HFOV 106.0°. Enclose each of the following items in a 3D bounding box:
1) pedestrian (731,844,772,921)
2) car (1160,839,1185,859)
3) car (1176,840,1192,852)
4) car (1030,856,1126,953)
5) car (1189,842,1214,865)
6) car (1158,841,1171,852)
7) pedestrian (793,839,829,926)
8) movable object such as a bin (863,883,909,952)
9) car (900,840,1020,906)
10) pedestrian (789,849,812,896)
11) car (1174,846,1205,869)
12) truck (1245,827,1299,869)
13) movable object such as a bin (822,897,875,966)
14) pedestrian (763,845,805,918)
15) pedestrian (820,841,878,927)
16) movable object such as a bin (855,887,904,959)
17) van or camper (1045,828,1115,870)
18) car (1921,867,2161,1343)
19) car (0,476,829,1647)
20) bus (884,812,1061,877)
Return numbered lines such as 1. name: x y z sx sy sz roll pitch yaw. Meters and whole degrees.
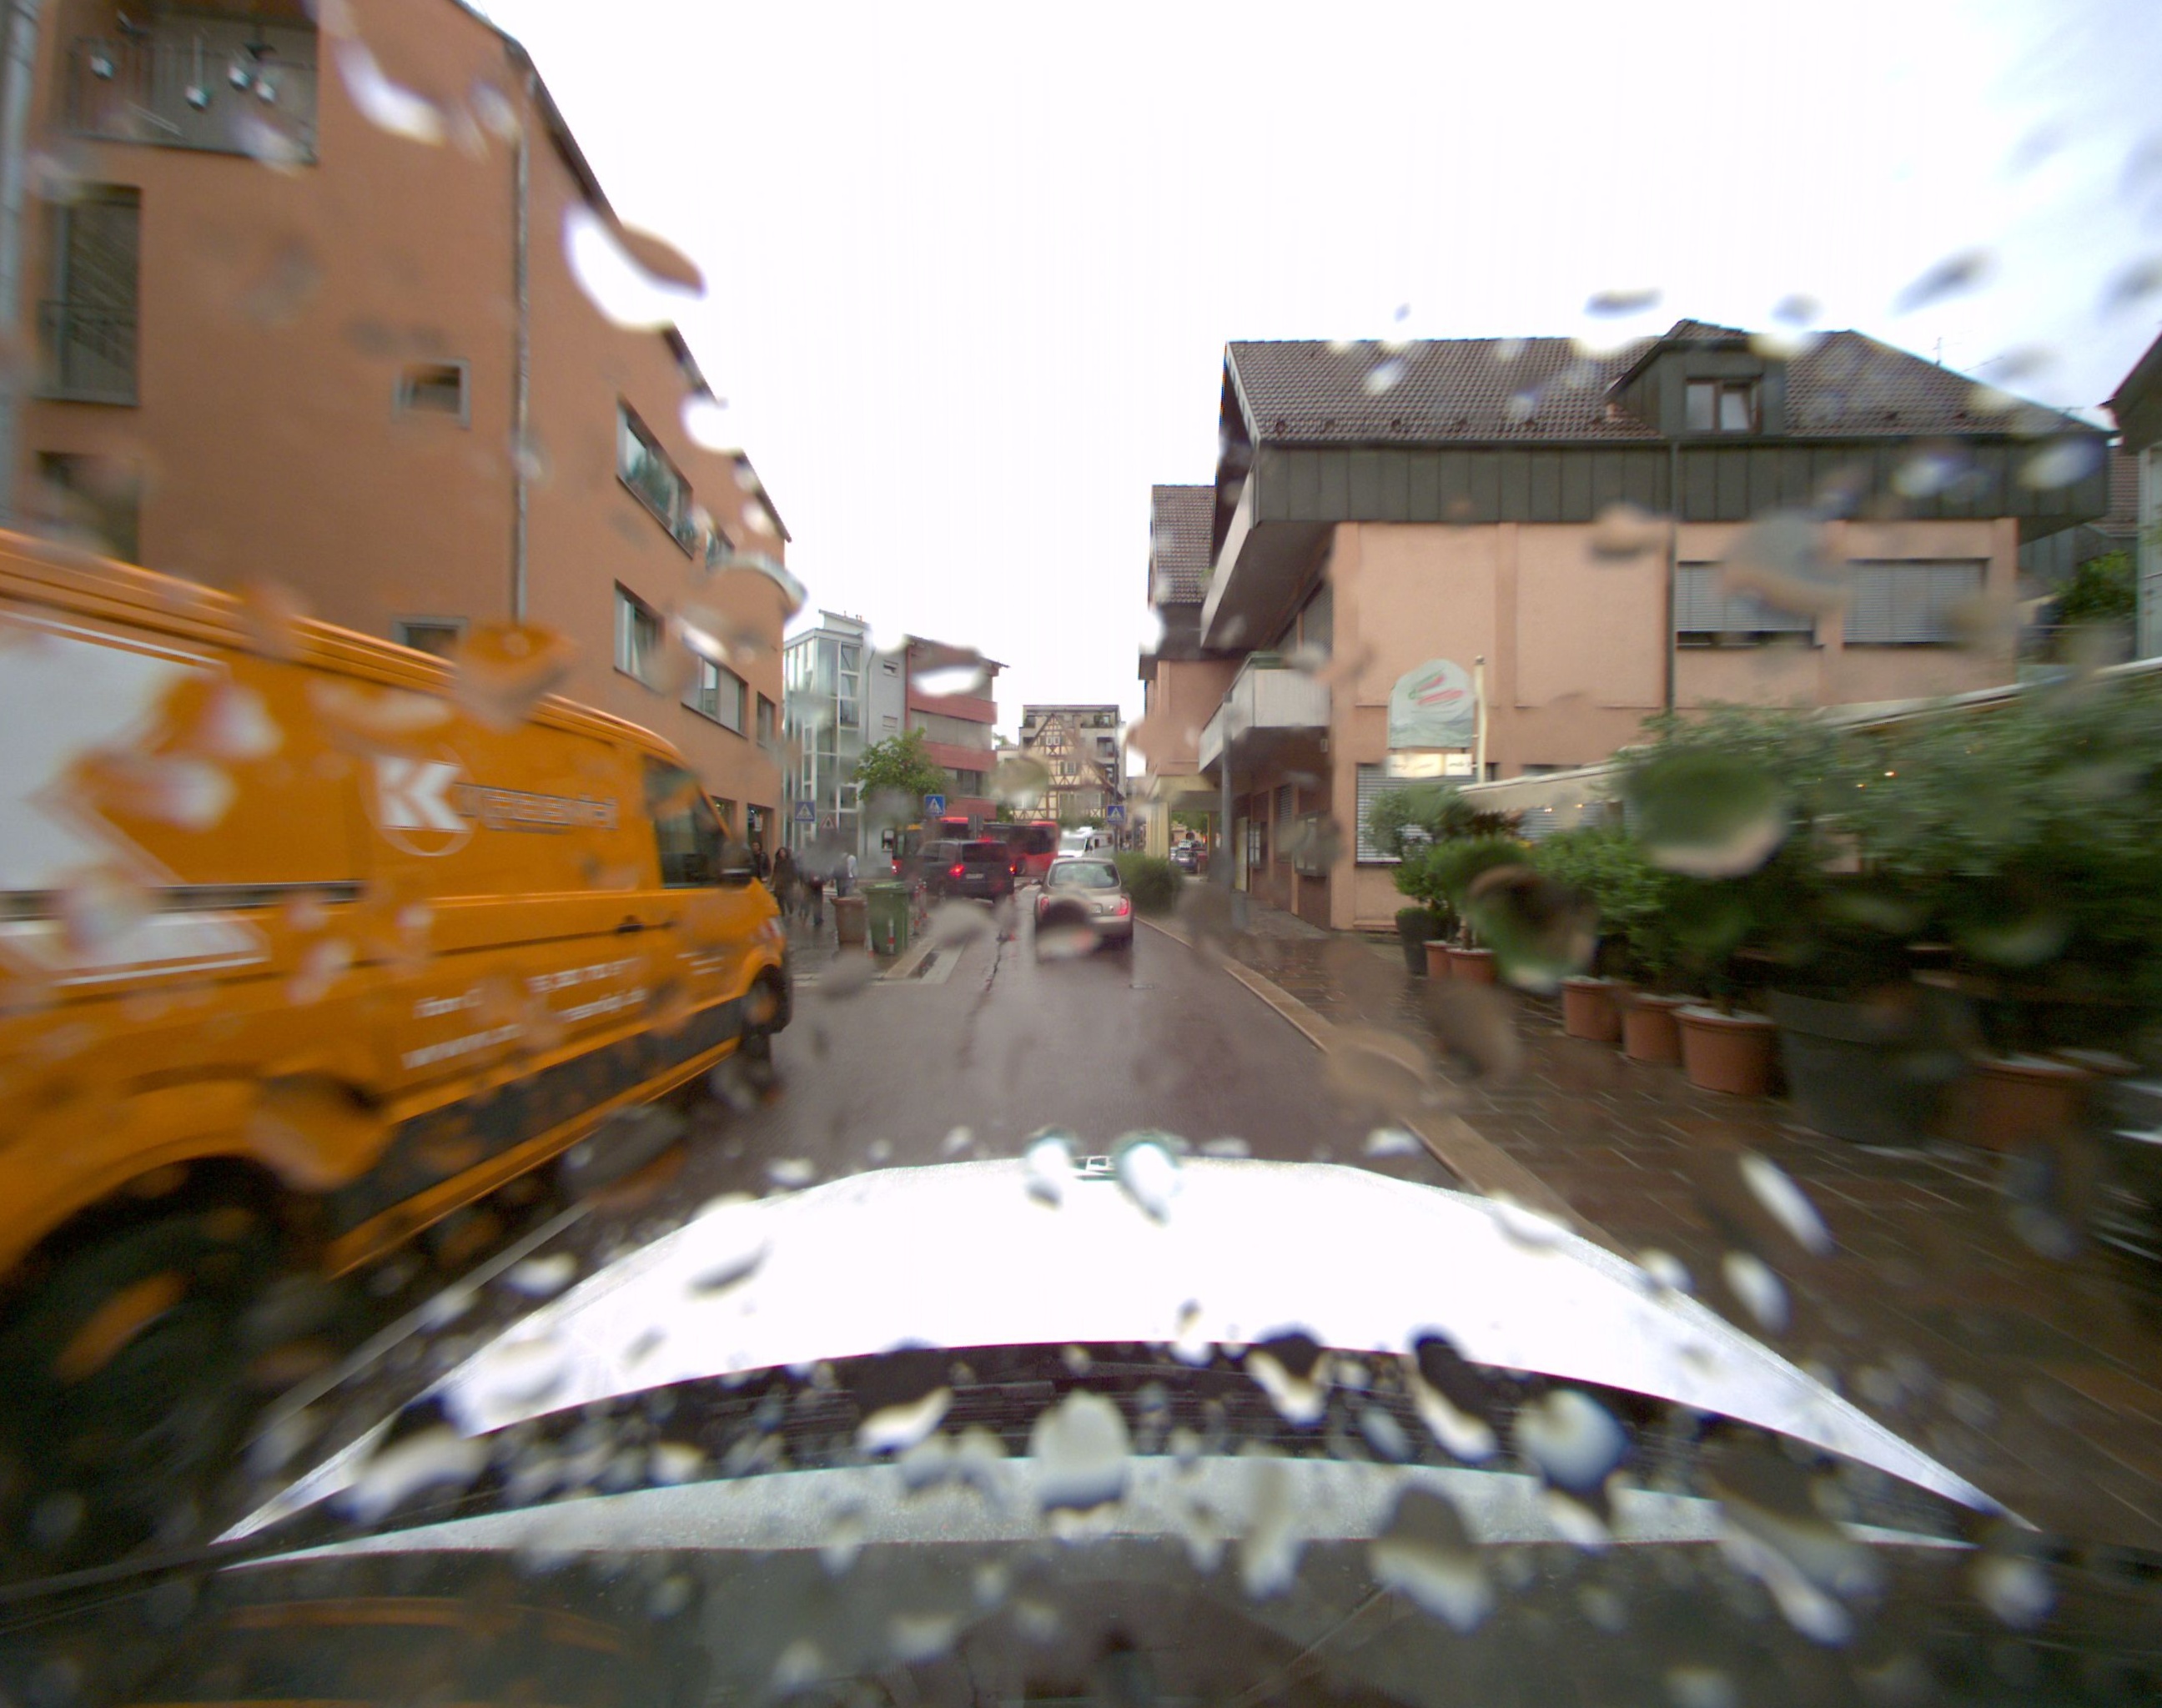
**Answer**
1. pedestrian: -7.543 0.641 18.676 0.622 1.712 0.807 2 0 -7
2. car: 7.424 -0.436 66.290 1.887 1.574 4.006 0 0 5
3. car: 13.610 -1.033 107.794 1.887 1.508 3.915 0 0 5
4. car: -0.137 0.793 14.555 1.519 1.470 3.337 0 1 -4
5. car: 8.397 -0.066 56.836 1.615 1.500 4.010 -3 0 8
6. car: 12.048 -1.064 117.981 1.887 1.508 3.915 0 0 5
7. pedestrian: -5.769 0.579 17.380 0.694 1.800 1.051 0 0 -20
8. movable object such as a bin: -3.125 1.006 13.087 0.656 1.036 0.608 -1 0 -9
9. car: -3.720 0.498 24.343 1.959 1.781 4.681 0 0 -31
10. pedestrian: -9.765 0.632 28.380 0.659 1.610 0.682 0 0 -10
11. car: 6.958 0.197 51.939 1.525 1.362 3.387 1 1 16
12. truck: 8.597 -0.253 36.918 1.755 1.808 4.004 0 0 3
13. movable object such as a bin: -3.270 1.083 11.475 0.579 0.927 0.481 1 0 1
14. pedestrian: -6.863 0.633 18.831 0.714 1.639 0.744 2 0 -7
15. pedestrian: -5.031 0.622 17.706 0.657 1.806 1.067 0 0 26
16. movable object such as a bin: -3.058 1.029 12.383 0.656 1.036 0.608 0 0 -9
17. van or camper: 0.045 -0.349 53.677 2.418 2.585 6.784 1 0 19
18. car: 4.464 0.741 1.363 1.740 1.357 3.908 0 0 -21
19. car: -3.035 0.393 3.522 1.987 2.239 5.862 0 0 1
20. bus: -5.401 -0.534 43.404 2.786 3.088 10.676 2 2 35
